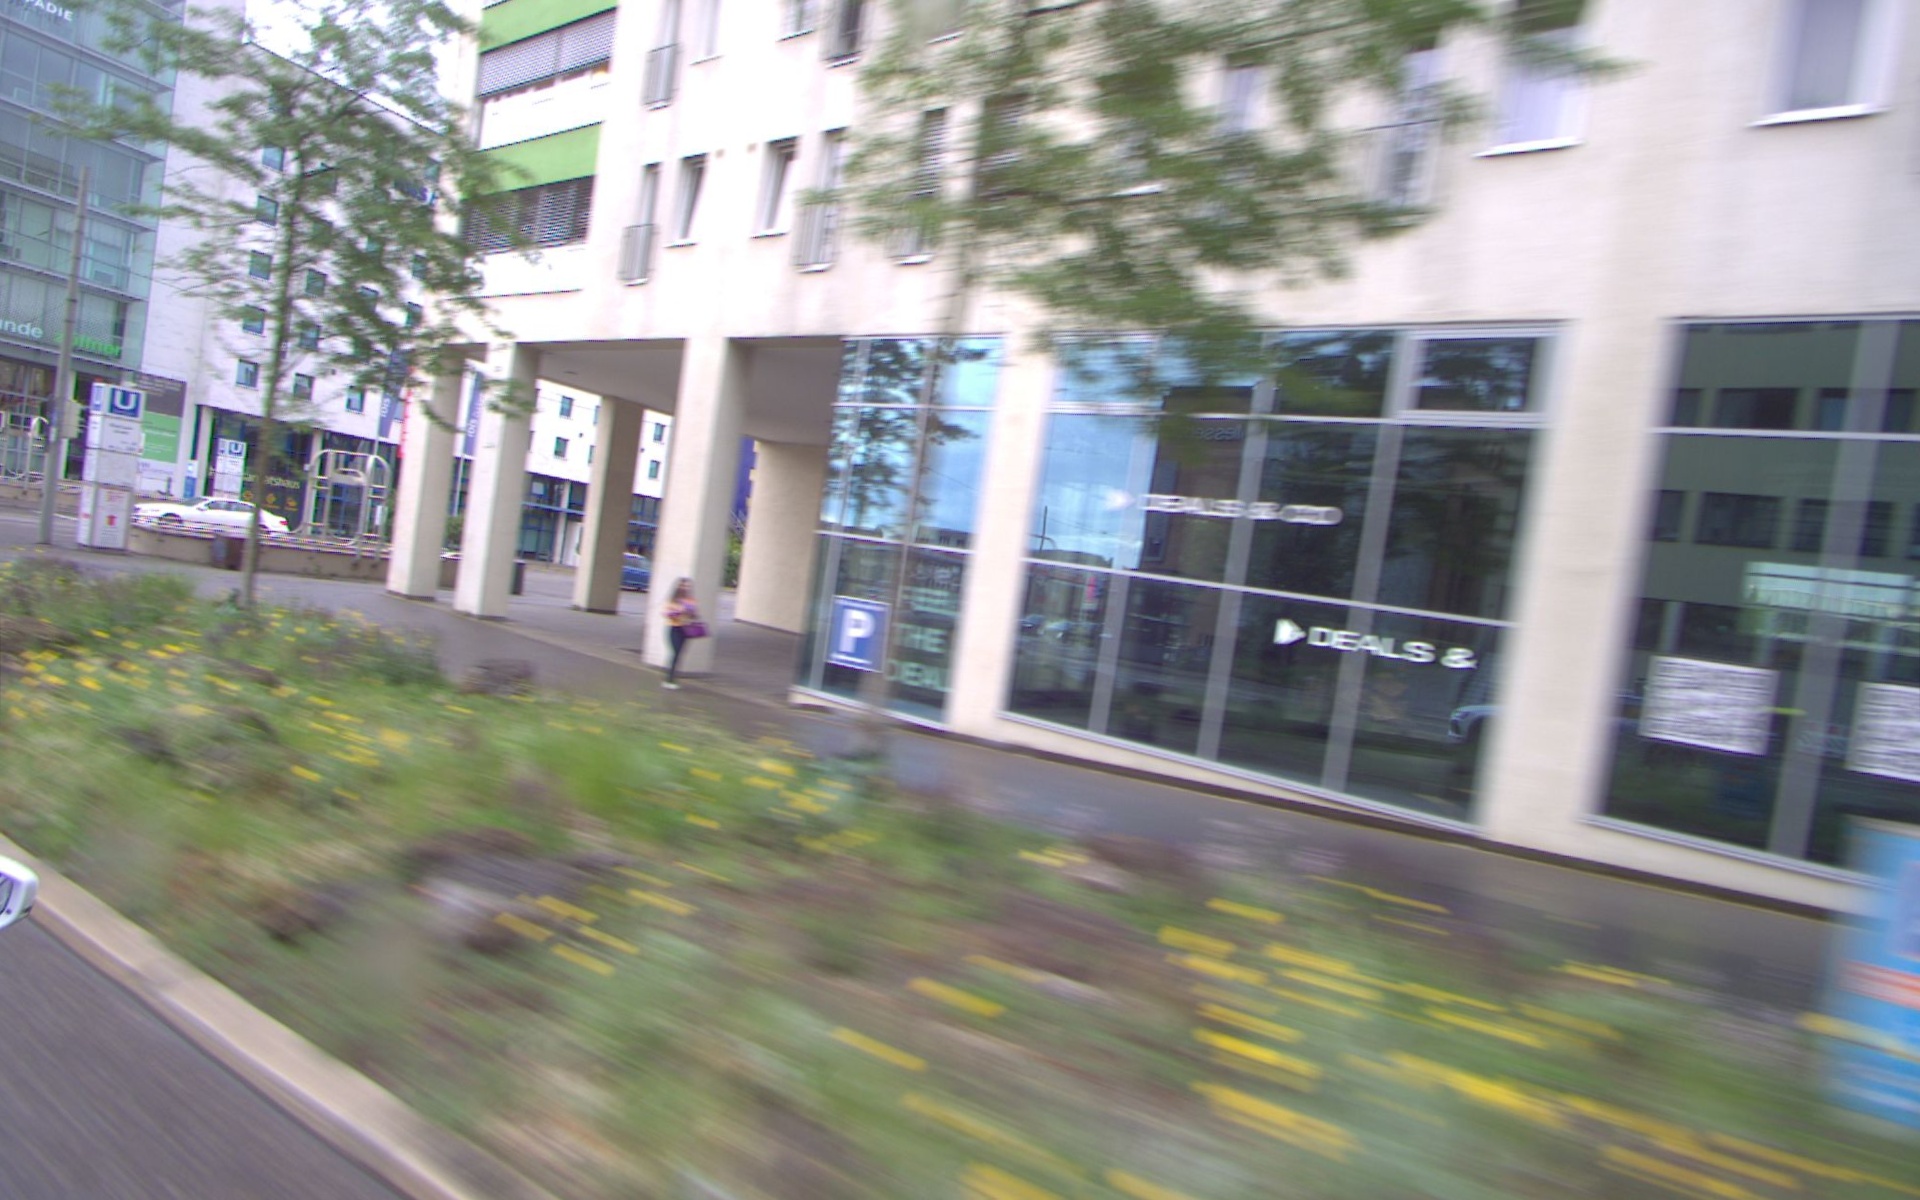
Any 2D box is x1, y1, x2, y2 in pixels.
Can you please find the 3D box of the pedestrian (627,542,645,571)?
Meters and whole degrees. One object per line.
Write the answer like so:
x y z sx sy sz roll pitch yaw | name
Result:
-24.267 -3.291 75.412 0.891 2.037 0.809 8 -1 -29 | pedestrian

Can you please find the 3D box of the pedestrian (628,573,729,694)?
-4.479 0.531 15.995 1.071 1.733 0.872 9 1 38 | pedestrian

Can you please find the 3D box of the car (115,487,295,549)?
-27.825 -2.976 37.277 1.792 1.404 4.955 9 0 30 | car

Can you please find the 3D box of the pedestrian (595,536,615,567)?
-25.847 -3.521 73.157 0.791 2.037 0.814 7 -1 32 | pedestrian

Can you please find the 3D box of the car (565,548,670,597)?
-15.456 -1.215 45.582 1.967 1.593 3.991 10 1 33 | car
